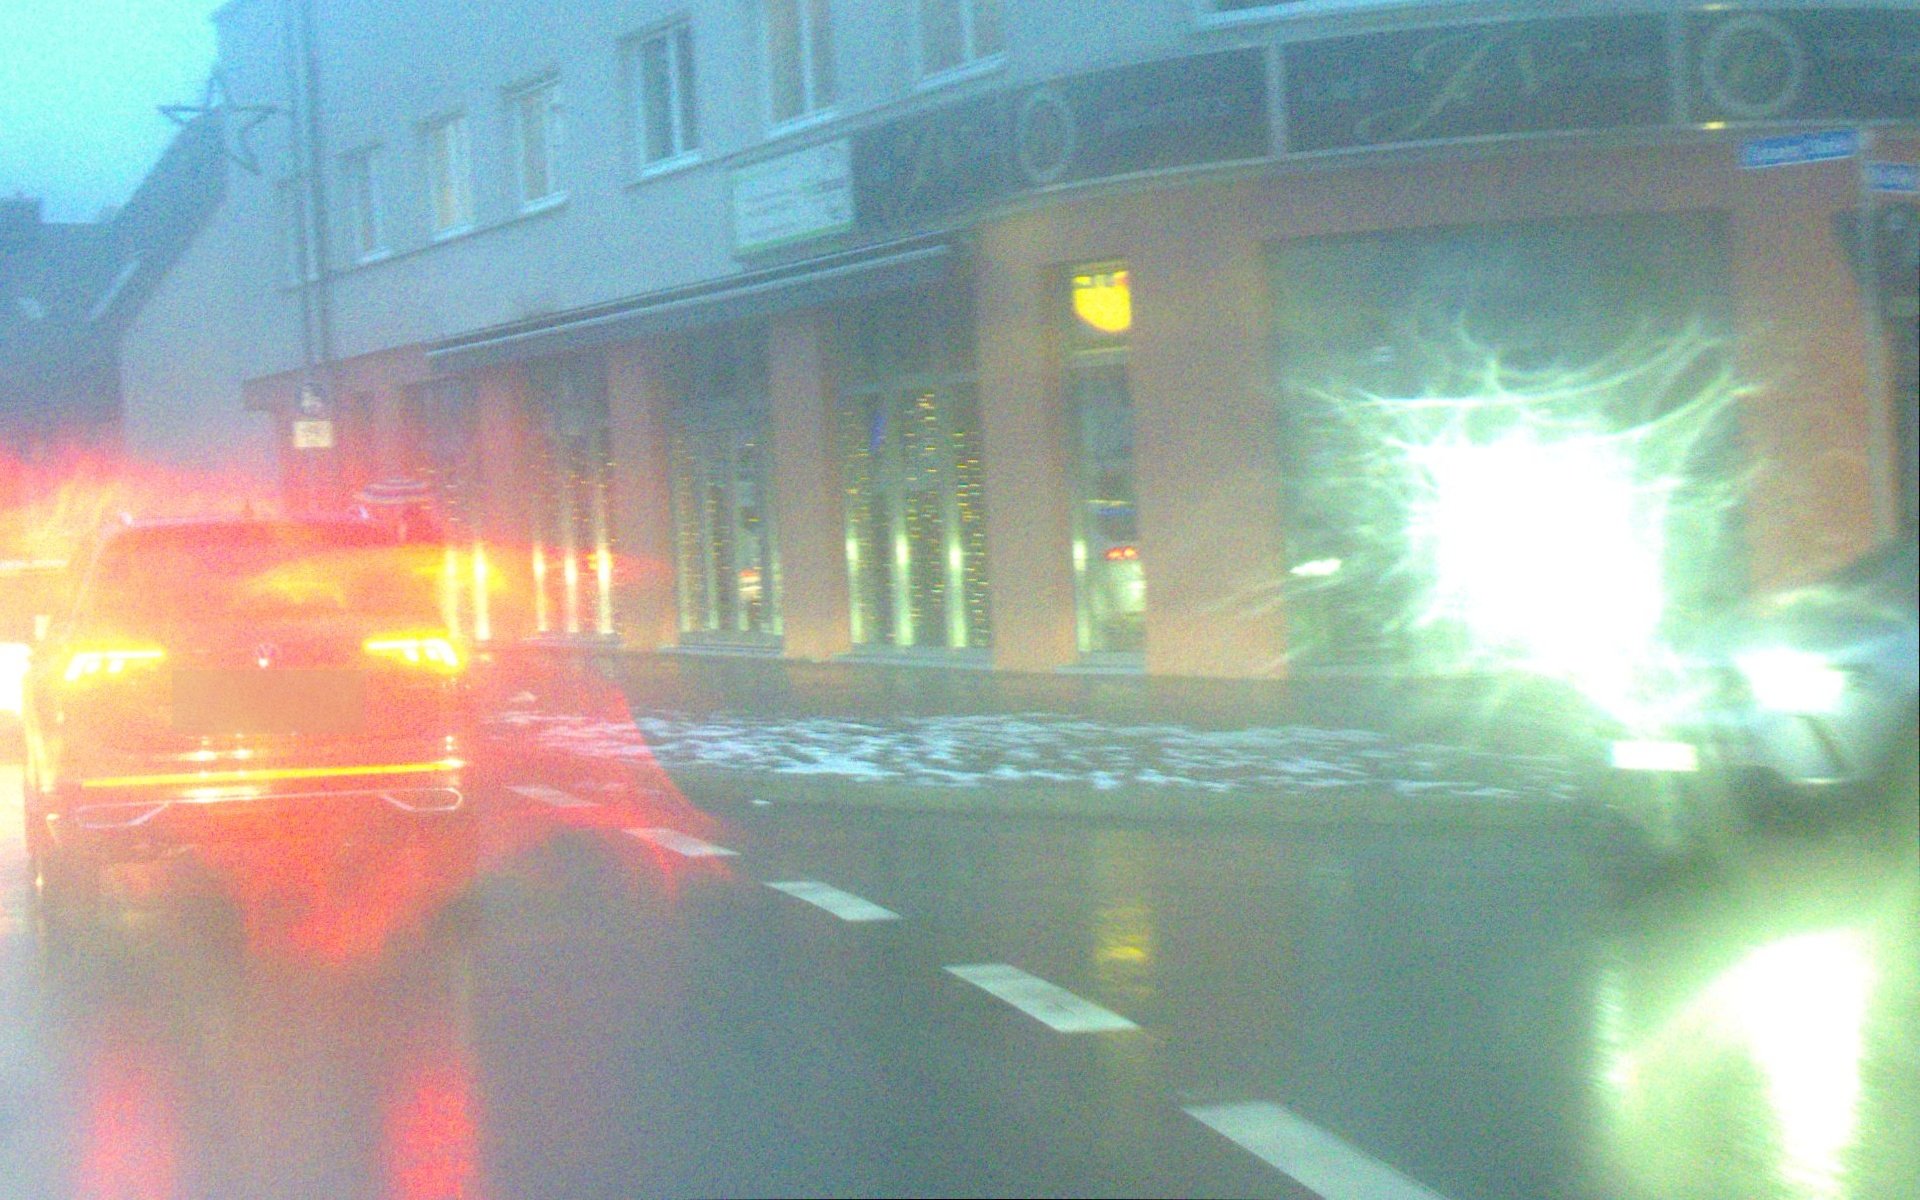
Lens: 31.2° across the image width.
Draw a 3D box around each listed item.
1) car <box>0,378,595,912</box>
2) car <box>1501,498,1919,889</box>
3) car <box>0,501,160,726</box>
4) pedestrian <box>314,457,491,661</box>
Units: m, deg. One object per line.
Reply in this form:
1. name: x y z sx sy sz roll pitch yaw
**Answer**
1. car: -3.284 0.125 15.883 2.309 1.932 5.020 -4 2 -15
2. car: 4.527 0.287 14.587 4.170 1.436 1.798 -1 2 -28
3. car: -7.630 0.080 27.670 1.857 1.641 4.001 -3 2 -19
4. pedestrian: -5.458 -0.404 33.605 1.254 1.859 1.303 -6 3 -25
